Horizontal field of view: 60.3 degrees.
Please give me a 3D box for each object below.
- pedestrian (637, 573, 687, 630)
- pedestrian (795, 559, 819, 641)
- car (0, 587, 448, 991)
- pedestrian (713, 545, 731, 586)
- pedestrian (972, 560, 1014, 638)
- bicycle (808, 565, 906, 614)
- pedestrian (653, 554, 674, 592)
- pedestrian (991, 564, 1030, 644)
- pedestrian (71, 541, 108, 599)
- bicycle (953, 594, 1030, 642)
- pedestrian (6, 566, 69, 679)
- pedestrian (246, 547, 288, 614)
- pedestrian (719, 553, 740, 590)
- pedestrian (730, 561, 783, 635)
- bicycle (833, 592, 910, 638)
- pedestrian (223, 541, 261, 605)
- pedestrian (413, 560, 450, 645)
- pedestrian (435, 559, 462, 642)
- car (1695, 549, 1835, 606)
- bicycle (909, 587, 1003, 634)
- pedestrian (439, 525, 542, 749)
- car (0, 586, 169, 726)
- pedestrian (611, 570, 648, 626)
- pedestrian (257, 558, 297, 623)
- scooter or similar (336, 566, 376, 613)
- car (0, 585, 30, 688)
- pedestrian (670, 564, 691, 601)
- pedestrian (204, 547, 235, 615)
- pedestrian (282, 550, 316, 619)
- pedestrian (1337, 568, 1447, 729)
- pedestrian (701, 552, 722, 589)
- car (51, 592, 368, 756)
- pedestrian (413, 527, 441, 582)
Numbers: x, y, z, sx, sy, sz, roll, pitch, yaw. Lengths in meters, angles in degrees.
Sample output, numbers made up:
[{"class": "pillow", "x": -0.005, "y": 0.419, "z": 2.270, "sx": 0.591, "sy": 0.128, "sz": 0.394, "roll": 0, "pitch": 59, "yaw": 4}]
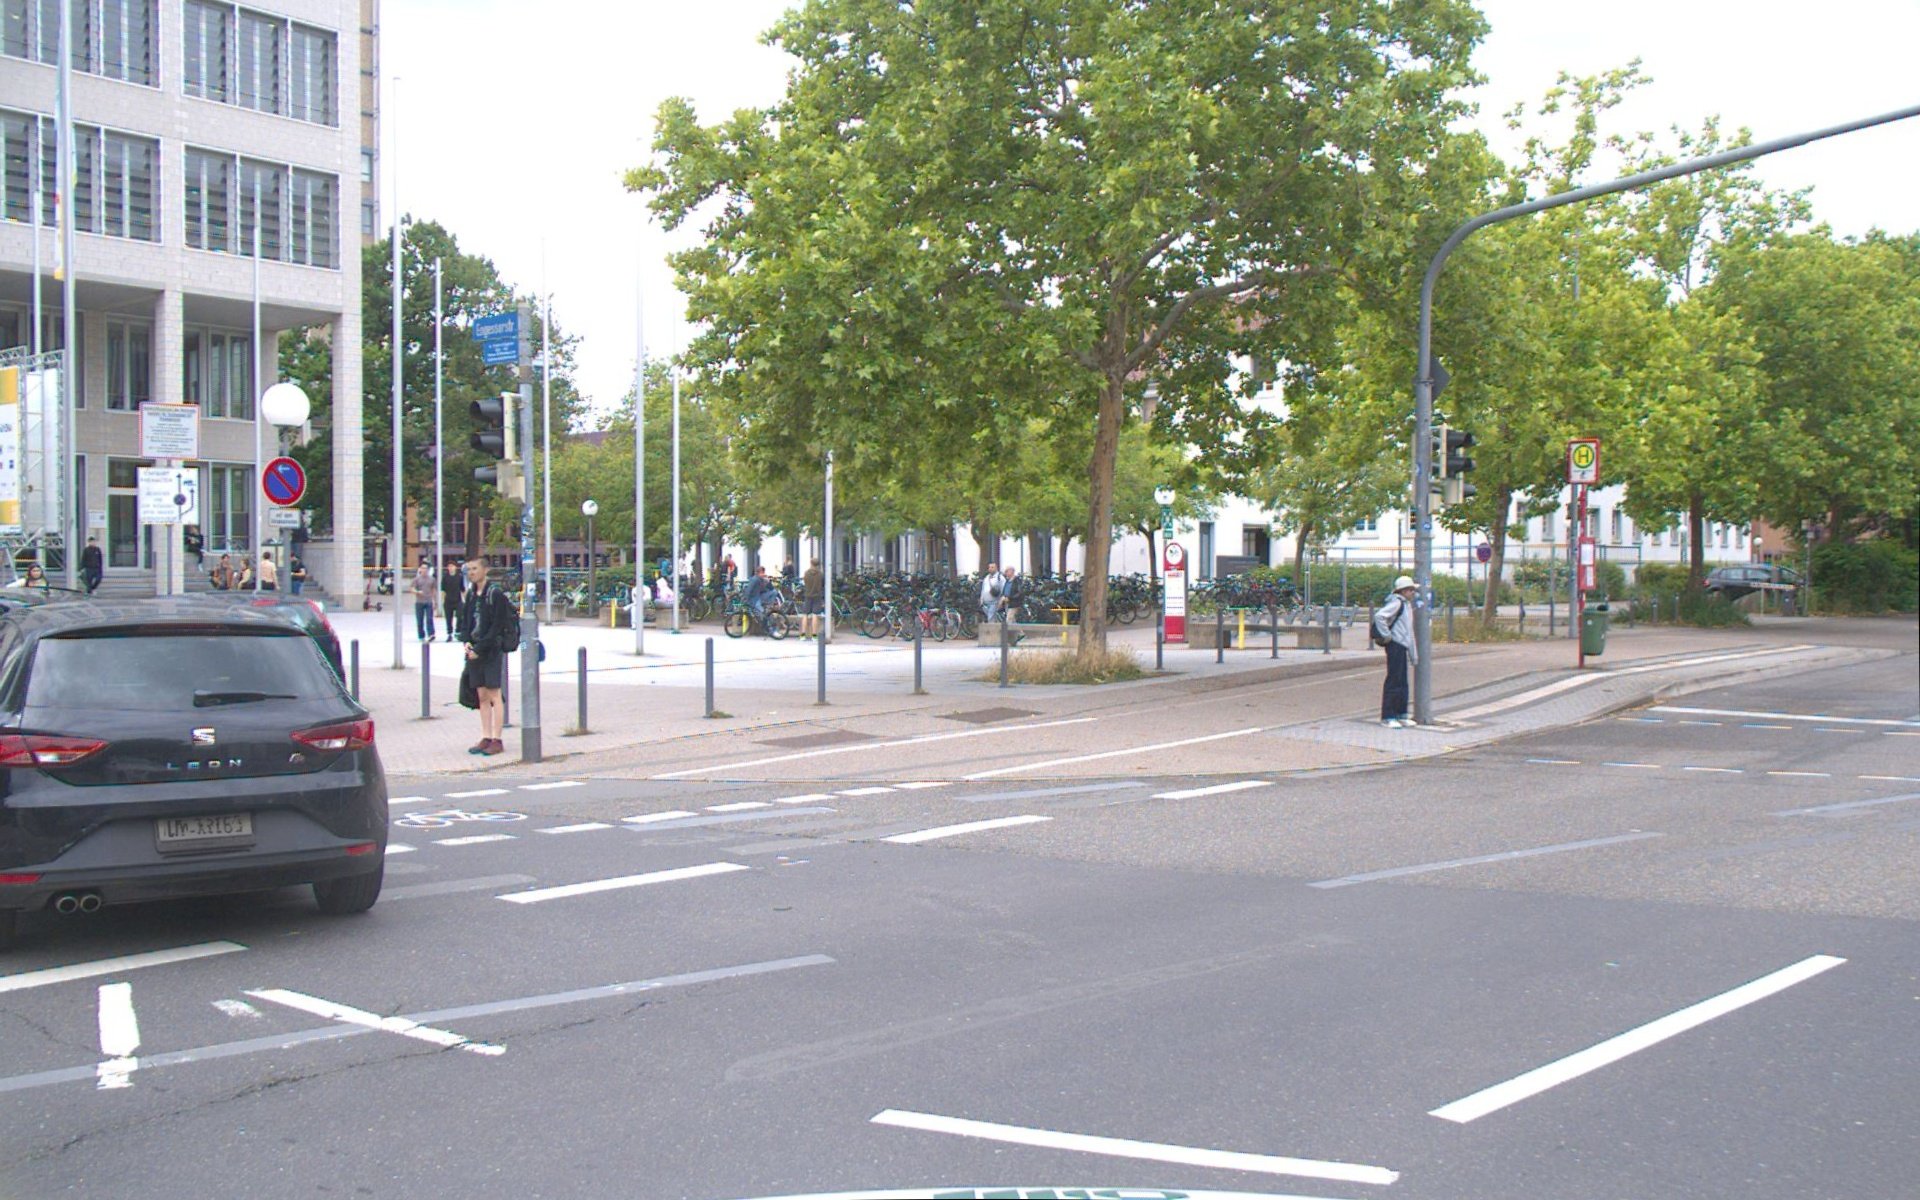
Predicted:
[{"class": "pedestrian", "x": -7.630, "y": 0.024, "z": 42.386, "sx": 0.947, "sy": 1.445, "sz": 0.851, "roll": 0, "pitch": 1, "yaw": 29}, {"class": "pedestrian", "x": -3.534, "y": -0.014, "z": 38.197, "sx": 0.500, "sy": 1.865, "sz": 0.672, "roll": -1, "pitch": 1, "yaw": -9}, {"class": "car", "x": -4.049, "y": 0.678, "z": 8.205, "sx": 1.767, "sy": 1.444, "sz": 4.080, "roll": 0, "pitch": 1, "yaw": -35}, {"class": "pedestrian", "x": -9.880, "y": -1.431, "z": 68.690, "sx": 0.647, "sy": 1.669, "sz": 0.665, "roll": -1, "pitch": 1, "yaw": -6}, {"class": "pedestrian", "x": 0.747, "y": -0.039, "z": 37.619, "sx": 0.668, "sy": 1.745, "sz": 0.667, "roll": -2, "pitch": 2, "yaw": -44}, {"class": "bicycle", "x": -2.831, "y": -0.296, "z": 45.047, "sx": 3.054, "sy": 1.190, "sz": 0.743, "roll": 4, "pitch": 2, "yaw": 43}, {"class": "pedestrian", "x": -13.308, "y": -1.218, "z": 74.320, "sx": 0.653, "sy": 1.669, "sz": 0.659, "roll": 0, "pitch": 1, "yaw": 39}, {"class": "pedestrian", "x": 1.125, "y": 0.081, "z": 36.976, "sx": 0.581, "sy": 1.745, "sz": 0.647, "roll": -1, "pitch": 1, "yaw": -44}, {"class": "pedestrian", "x": -24.022, "y": -0.826, "z": 45.648, "sx": 0.620, "sy": 1.553, "sz": 0.711, "roll": 4, "pitch": 2, "yaw": 41}, {"class": "bicycle", "x": 0.728, "y": 0.407, "z": 38.758, "sx": 1.897, "sy": 1.067, "sz": 0.455, "roll": 1, "pitch": 2, "yaw": 36}, {"class": "pedestrian", "x": -15.158, "y": 0.347, "z": 27.170, "sx": 0.785, "sy": 1.818, "sz": 0.810, "roll": -1, "pitch": 1, "yaw": -38}, {"class": "pedestrian", "x": -18.804, "y": -0.533, "z": 44.890, "sx": 0.720, "sy": 1.816, "sz": 0.763, "roll": 0, "pitch": 1, "yaw": 27}, {"class": "pedestrian", "x": -10.461, "y": -1.286, "z": 75.086, "sx": 0.653, "sy": 1.669, "sz": 0.659, "roll": 0, "pitch": 1, "yaw": 38}, {"class": "pedestrian", "x": -4.884, "y": -0.060, "z": 39.684, "sx": 0.951, "sy": 1.734, "sz": 0.848, "roll": 0, "pitch": 1, "yaw": 40}, {"class": "bicycle", "x": -2.140, "y": 0.350, "z": 40.006, "sx": 1.892, "sy": 1.067, "sz": 0.457, "roll": 1, "pitch": 2, "yaw": 27}, {"class": "pedestrian", "x": -19.806, "y": -0.736, "z": 45.631, "sx": 0.593, "sy": 1.745, "sz": 0.775, "roll": 0, "pitch": 1, "yaw": 41}, {"class": "pedestrian", "x": -11.704, "y": 0.051, "z": 36.605, "sx": 0.633, "sy": 1.839, "sz": 0.643, "roll": 2, "pitch": 2, "yaw": -27}, {"class": "pedestrian", "x": -11.363, "y": 0.004, "z": 36.761, "sx": 0.520, "sy": 1.837, "sz": 0.555, "roll": -1, "pitch": 1, "yaw": -22}, {"class": "car", "x": 25.897, "y": -0.730, "z": 53.356, "sx": 3.971, "sy": 1.783, "sz": 1.999, "roll": 0, "pitch": 1, "yaw": 24}, {"class": "bicycle", "x": -0.149, "y": 0.289, "z": 48.679, "sx": 3.054, "sy": 1.190, "sz": 0.743, "roll": 4, "pitch": 2, "yaw": 43}, {"class": "pedestrian", "x": -4.313, "y": 0.319, "z": 15.177, "sx": 0.781, "sy": 1.986, "sz": 0.752, "roll": -1, "pitch": 1, "yaw": -25}, {"class": "car", "x": -11.962, "y": 0.614, "z": 20.703, "sx": 4.390, "sy": 1.425, "sz": 1.860, "roll": 1, "pitch": 4, "yaw": 37}, {"class": "pedestrian", "x": -8.550, "y": -0.058, "z": 42.779, "sx": 0.751, "sy": 1.438, "sz": 0.674, "roll": 0, "pitch": 1, "yaw": 9}, {"class": "pedestrian", "x": -19.037, "y": -0.270, "z": 46.093, "sx": 0.720, "sy": 1.816, "sz": 0.721, "roll": 0, "pitch": 1, "yaw": 27}, {"class": "scooter or similar", "x": -18.691, "y": -0.335, "z": 51.217, "sx": 0.395, "sy": 1.393, "sz": 1.493, "roll": 3, "pitch": 2, "yaw": 13}, {"class": "car", "x": -15.588, "y": 0.515, "z": 24.635, "sx": 3.788, "sy": 1.478, "sz": 1.857, "roll": 1, "pitch": 1, "yaw": 41}, {"class": "pedestrian", "x": -12.632, "y": -0.780, "z": 74.873, "sx": 0.653, "sy": 1.669, "sz": 0.660, "roll": 0, "pitch": 1, "yaw": 38}, {"class": "pedestrian", "x": -20.764, "y": -0.534, "z": 46.382, "sx": 0.609, "sy": 1.873, "sz": 0.589, "roll": 0, "pitch": 0, "yaw": 42}, {"class": "pedestrian", "x": -18.235, "y": -0.437, "z": 45.669, "sx": 0.589, "sy": 1.897, "sz": 0.779, "roll": -1, "pitch": 1, "yaw": -1}, {"class": "pedestrian", "x": 4.721, "y": 0.506, "z": 18.083, "sx": 0.749, "sy": 1.654, "sz": 0.783, "roll": 0, "pitch": 5, "yaw": -37}, {"class": "pedestrian", "x": -11.376, "y": -1.347, "z": 75.749, "sx": 0.681, "sy": 1.669, "sz": 0.659, "roll": 0, "pitch": 1, "yaw": 38}, {"class": "car", "x": -8.284, "y": 0.713, "z": 18.100, "sx": 4.031, "sy": 1.527, "sz": 1.618, "roll": 0, "pitch": 3, "yaw": 42}, {"class": "pedestrian", "x": -16.591, "y": -1.420, "z": 51.542, "sx": 0.722, "sy": 1.669, "sz": 0.928, "roll": 2, "pitch": 2, "yaw": -15}]
